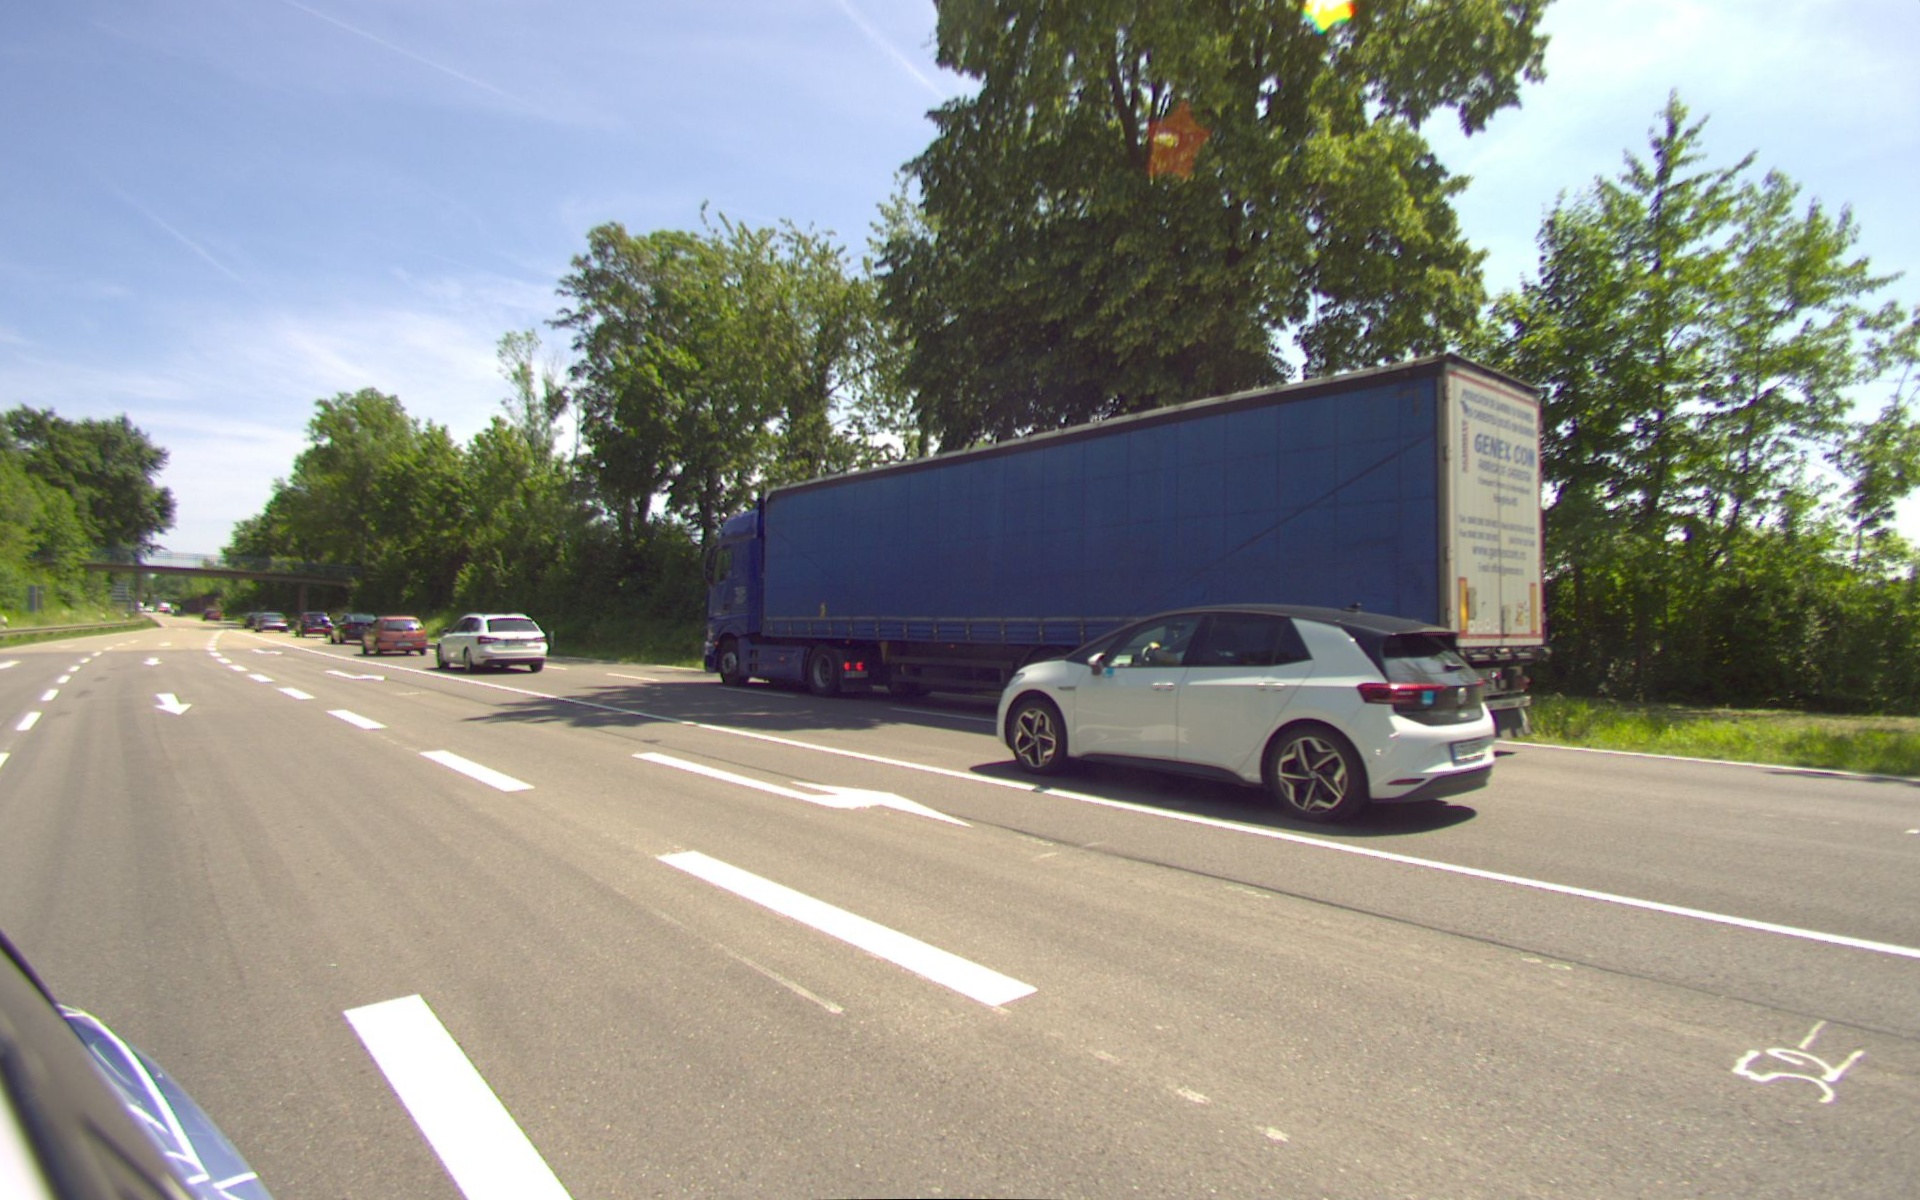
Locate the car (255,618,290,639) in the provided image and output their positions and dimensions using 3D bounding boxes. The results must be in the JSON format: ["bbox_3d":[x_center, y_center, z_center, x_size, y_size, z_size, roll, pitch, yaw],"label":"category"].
[{"bbox_3d":[-49.958,2.082,73.526,1.745,1.397,4.007,0,0,-40],"label":"car"}]

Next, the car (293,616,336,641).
[{"bbox_3d":[-39.206,1.723,61.443,1.621,1.449,4.022,0,-1,-42],"label":"car"}]

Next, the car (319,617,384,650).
[{"bbox_3d":[-29.614,1.643,49.197,1.895,1.492,4.693,3,-3,-41],"label":"car"}]

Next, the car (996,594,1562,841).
[{"bbox_3d":[2.402,0.815,8.468,1.771,1.534,4.190,3,-3,-43],"label":"car"}]

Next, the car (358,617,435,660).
[{"bbox_3d":[-20.619,1.384,36.971,1.744,1.457,3.782,2,-2,-40],"label":"car"}]

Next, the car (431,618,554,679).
[{"bbox_3d":[-12.182,1.184,26.238,1.679,1.425,4.569,1,-2,-41],"label":"car"}]

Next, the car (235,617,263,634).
[{"bbox_3d":[-64.724,2.288,92.055,1.745,1.397,4.007,0,0,-40],"label":"car"}]

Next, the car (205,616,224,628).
[{"bbox_3d":[-97.589,2.858,132.502,1.879,1.520,3.772,2,-2,-38],"label":"car"}]

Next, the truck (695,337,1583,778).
[{"bbox_3d":[0.645,-0.288,16.955,2.931,4.208,16.601,2,-2,-40],"label":"truck"}]
